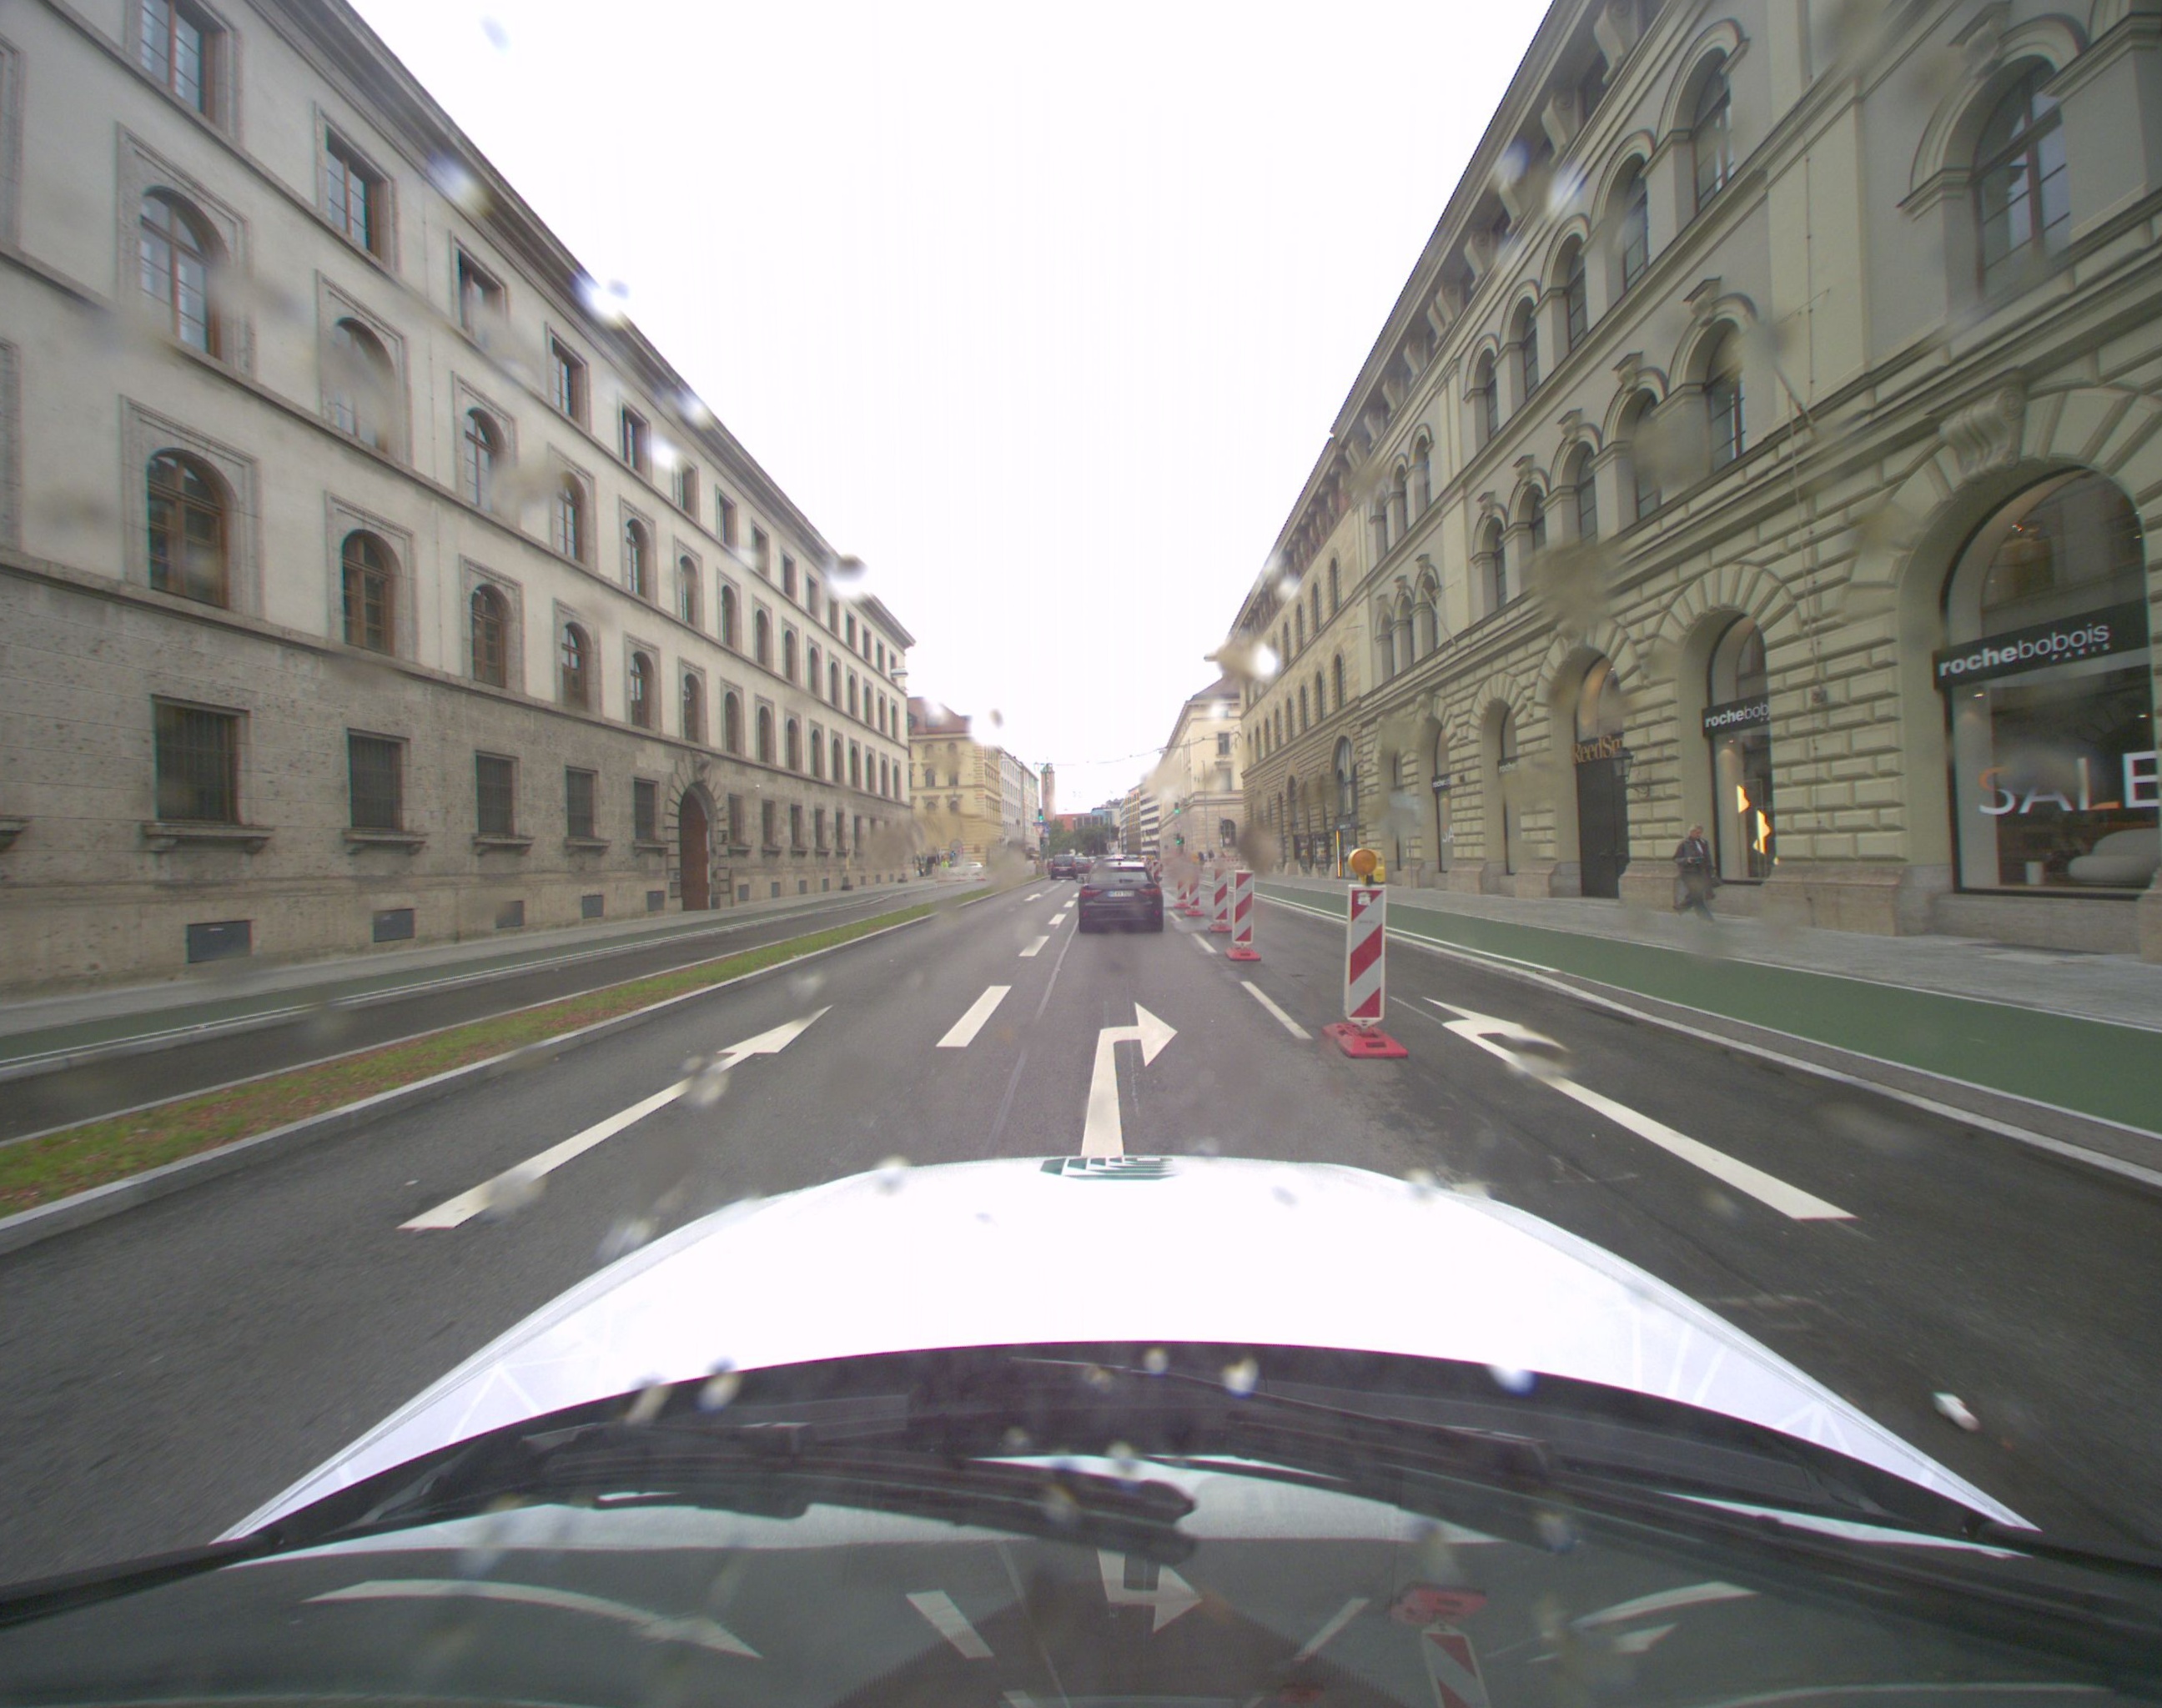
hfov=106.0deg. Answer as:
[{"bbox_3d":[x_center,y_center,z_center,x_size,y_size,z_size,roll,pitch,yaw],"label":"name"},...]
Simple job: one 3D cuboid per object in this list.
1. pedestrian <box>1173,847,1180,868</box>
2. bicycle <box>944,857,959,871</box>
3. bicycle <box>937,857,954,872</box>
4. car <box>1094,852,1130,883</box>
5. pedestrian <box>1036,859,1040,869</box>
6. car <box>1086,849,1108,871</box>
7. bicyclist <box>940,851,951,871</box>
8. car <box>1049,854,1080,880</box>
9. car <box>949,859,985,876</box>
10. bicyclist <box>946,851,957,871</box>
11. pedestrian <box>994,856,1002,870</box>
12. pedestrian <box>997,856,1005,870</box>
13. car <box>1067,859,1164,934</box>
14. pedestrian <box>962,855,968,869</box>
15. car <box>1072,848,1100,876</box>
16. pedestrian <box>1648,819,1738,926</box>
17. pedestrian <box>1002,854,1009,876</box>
[{"bbox_3d":[7.667,0.270,65.506,0.529,1.620,0.674,-1,0,4],"label":"pedestrian"},{"bbox_3d":[-12.055,0.943,75.770,0.783,1.242,2.203,-1,0,7],"label":"bicycle"},{"bbox_3d":[-11.891,0.884,71.494,0.783,1.242,2.453,-1,0,7],"label":"bicycle"},{"bbox_3d":[1.706,0.713,45.617,1.764,1.617,3.998,-1,0,-1],"label":"car"},{"bbox_3d":[-7.633,1.719,144.859,0.734,1.772,0.736,-1,0,1],"label":"pedestrian"},{"bbox_3d":[1.574,0.580,80.620,1.986,2.013,4.002,-2,0,2],"label":"car"},{"bbox_3d":[-11.891,0.594,71.499,0.794,1.748,0.690,-1,0,6],"label":"bicyclist"},{"bbox_3d":[-1.060,0.810,54.295,1.858,1.601,3.852,-2,0,2],"label":"car"},{"bbox_3d":[-12.691,1.502,90.745,3.750,1.798,1.857,-2,-1,-18],"label":"car"},{"bbox_3d":[-12.047,0.654,75.894,0.794,1.776,0.690,-1,0,6],"label":"bicyclist"},{"bbox_3d":[-10.333,1.137,101.270,0.727,1.772,0.765,-1,0,23],"label":"pedestrian"},{"bbox_3d":[-10.018,1.147,101.985,0.727,1.772,0.743,-1,0,23],"label":"pedestrian"},{"bbox_3d":[0.742,0.828,17.750,1.856,1.388,4.002,-1,0,2],"label":"car"},{"bbox_3d":[-14.436,0.973,101.194,0.733,1.772,0.737,-1,0,-8],"label":"pedestrian"},{"bbox_3d":[0.427,0.611,64.414,1.986,2.013,4.002,-2,0,2],"label":"car"},{"bbox_3d":[10.236,0.299,13.660,0.630,1.704,1.086,-3,0,1],"label":"pedestrian"},{"bbox_3d":[-6.197,0.899,66.915,0.512,1.743,1.040,-2,0,-8],"label":"pedestrian"}]
